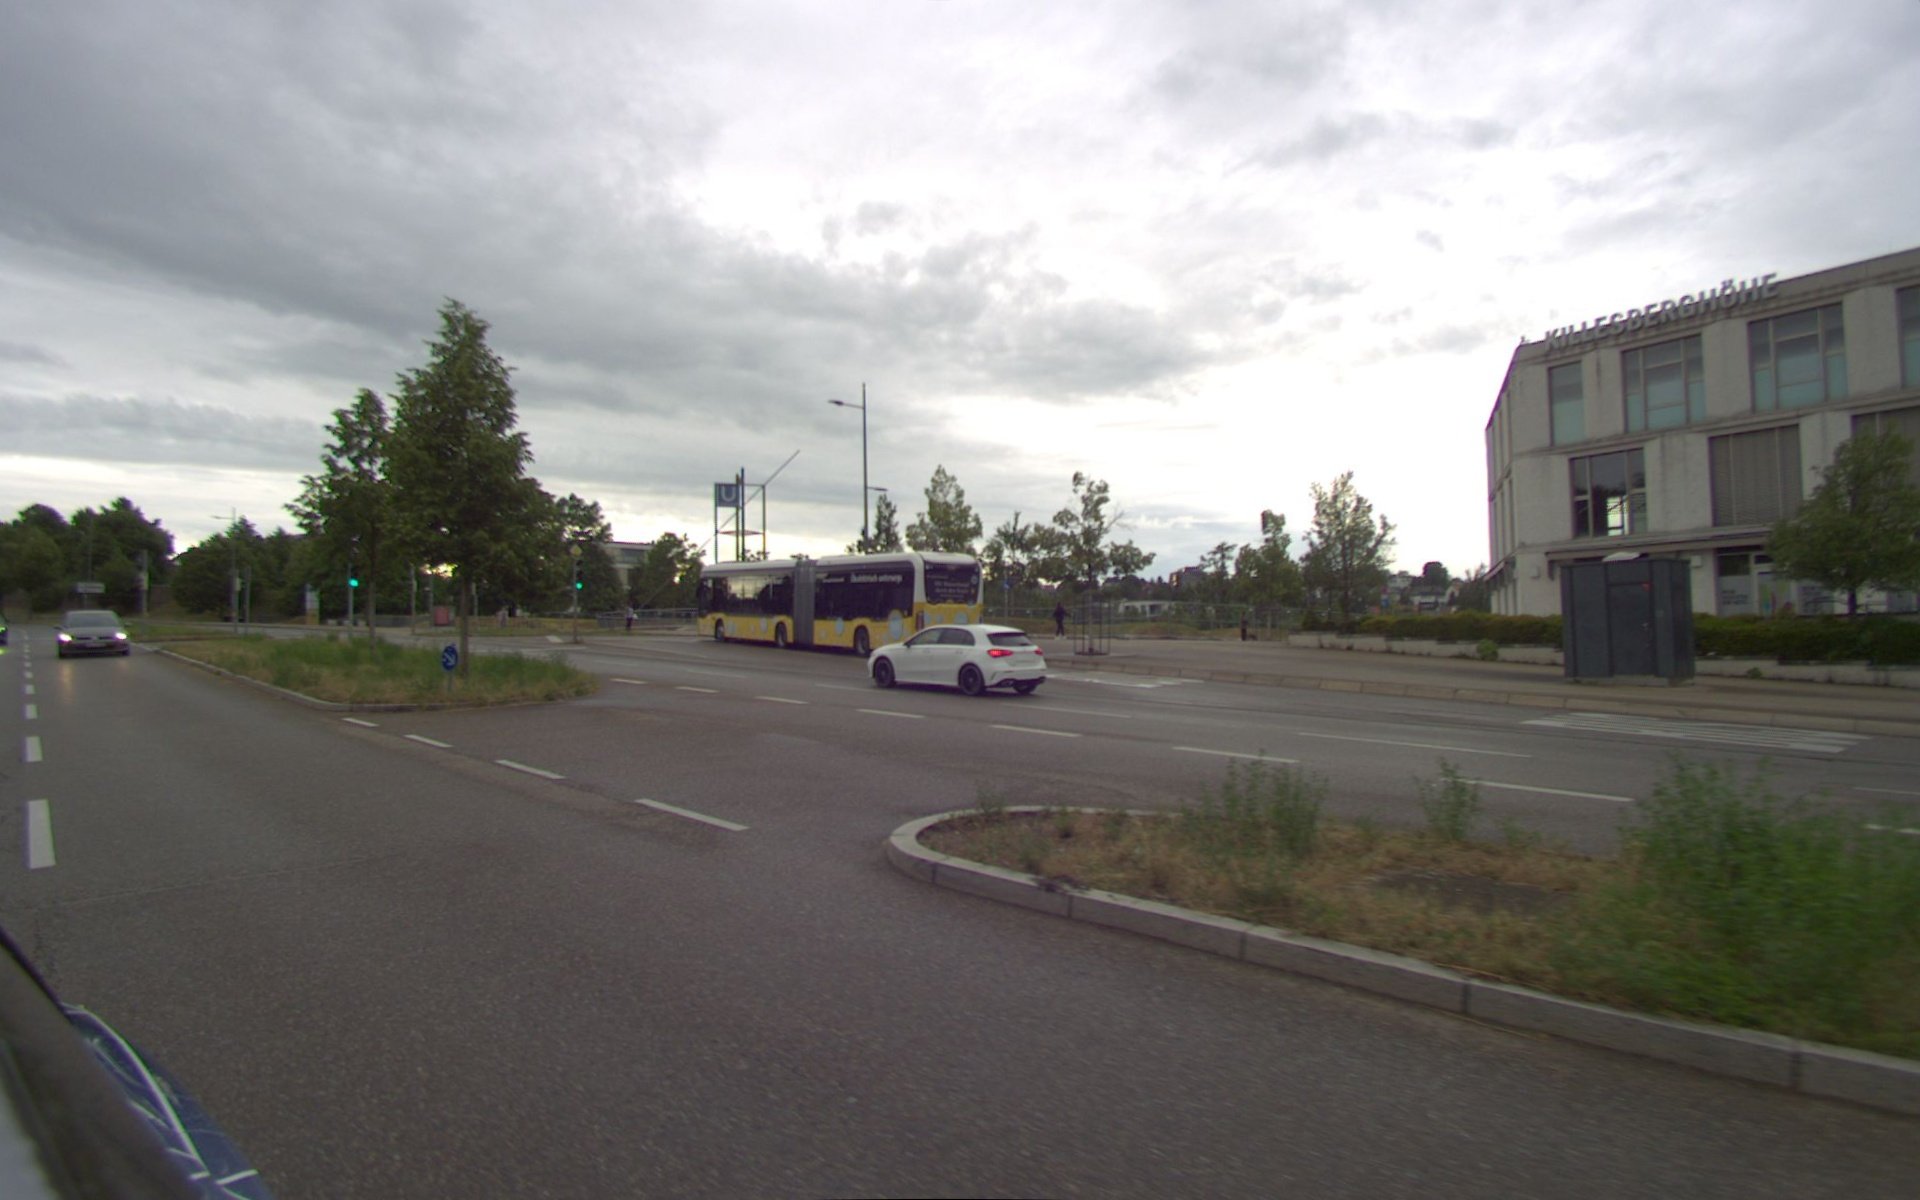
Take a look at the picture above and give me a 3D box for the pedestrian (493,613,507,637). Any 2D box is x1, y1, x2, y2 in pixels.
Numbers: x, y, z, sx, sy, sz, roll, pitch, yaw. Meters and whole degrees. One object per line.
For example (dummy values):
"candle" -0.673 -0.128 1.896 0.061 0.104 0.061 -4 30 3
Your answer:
"pedestrian" -30.992 1.682 68.200 0.812 1.606 0.607 -4 -4 42

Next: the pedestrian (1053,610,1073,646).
"pedestrian" 4.492 1.247 44.347 0.664 1.541 0.484 -4 -4 41

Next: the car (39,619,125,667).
"car" -28.526 1.380 32.852 4.198 1.440 1.785 -2 -2 44

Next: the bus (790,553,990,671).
"bus" -2.619 0.364 34.209 2.784 3.498 8.251 0 0 -36

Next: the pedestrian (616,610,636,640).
"pedestrian" -18.121 1.354 54.915 0.670 1.606 0.814 -3 -3 27

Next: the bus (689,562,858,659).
"bus" -7.945 0.383 41.593 2.784 3.498 9.998 0 0 -36

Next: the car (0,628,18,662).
"car" -41.244 1.917 42.611 4.175 1.410 1.963 -3 -3 42

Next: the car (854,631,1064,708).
"car" -0.116 1.406 21.683 1.970 1.429 4.517 1 -2 -43
